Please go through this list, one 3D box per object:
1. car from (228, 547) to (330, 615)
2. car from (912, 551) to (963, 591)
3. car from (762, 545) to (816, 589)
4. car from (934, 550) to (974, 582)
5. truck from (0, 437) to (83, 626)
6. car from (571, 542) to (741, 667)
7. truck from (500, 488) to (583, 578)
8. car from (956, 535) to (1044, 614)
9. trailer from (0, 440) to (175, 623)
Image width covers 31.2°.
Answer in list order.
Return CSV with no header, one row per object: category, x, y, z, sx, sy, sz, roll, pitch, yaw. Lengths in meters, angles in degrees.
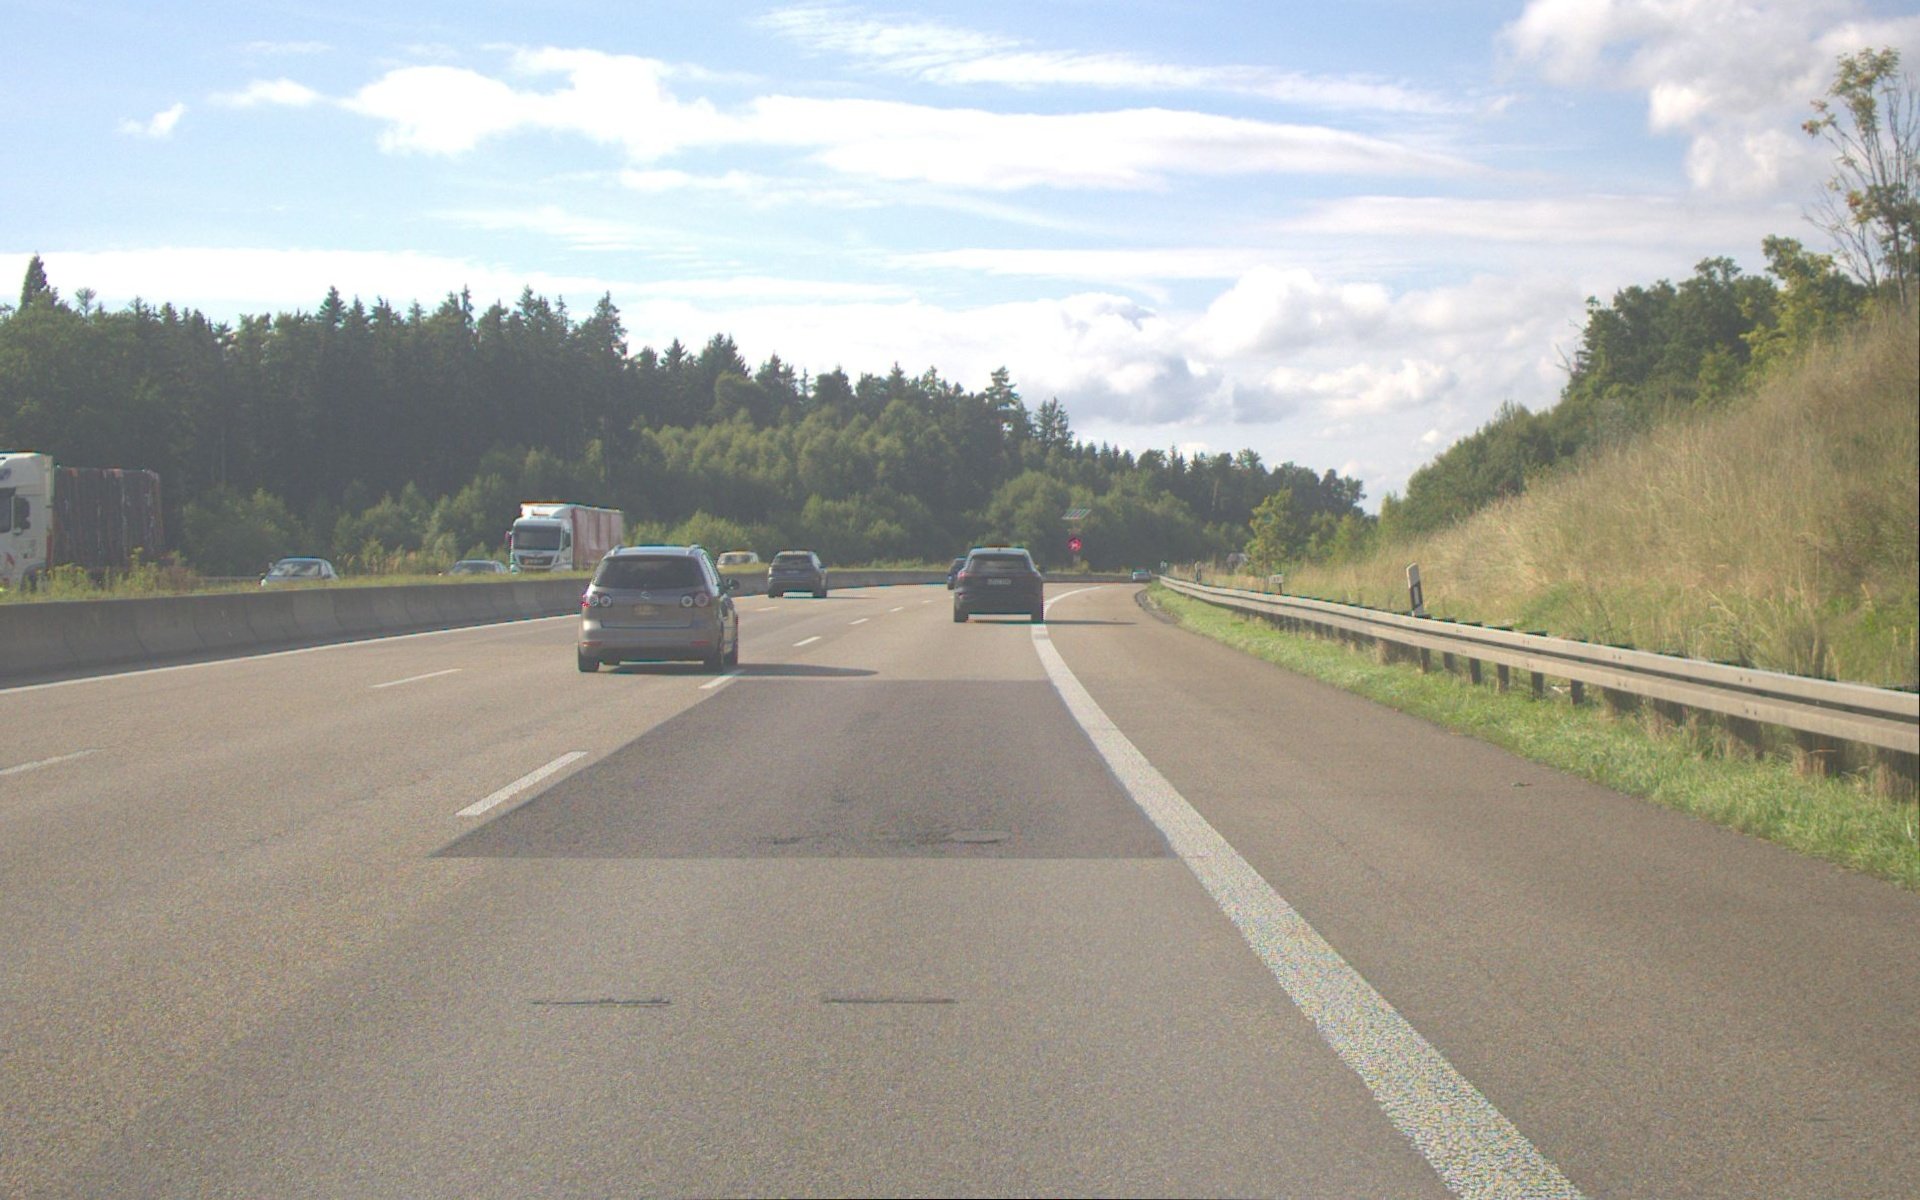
car,-18.681,-0.541,94.454,1.993,1.796,4.000,0,1,1
car,-0.839,-1.106,130.466,1.873,1.492,3.880,0,1,0
car,-6.034,-1.178,121.650,1.873,1.492,3.880,0,1,-2
car,-0.275,-1.645,163.544,1.873,1.492,3.880,0,1,0
truck,-23.061,-1.628,82.120,2.802,4.377,5.464,0,1,0
car,-3.789,0.024,43.392,1.873,1.492,3.880,0,1,-1
truck,-19.443,-3.090,159.966,3.024,4.094,5.668,0,1,2
car,0.874,-0.581,75.140,1.873,1.669,3.890,0,1,1
trailer,-23.055,-1.746,88.750,2.802,4.377,12.051,0,1,0
